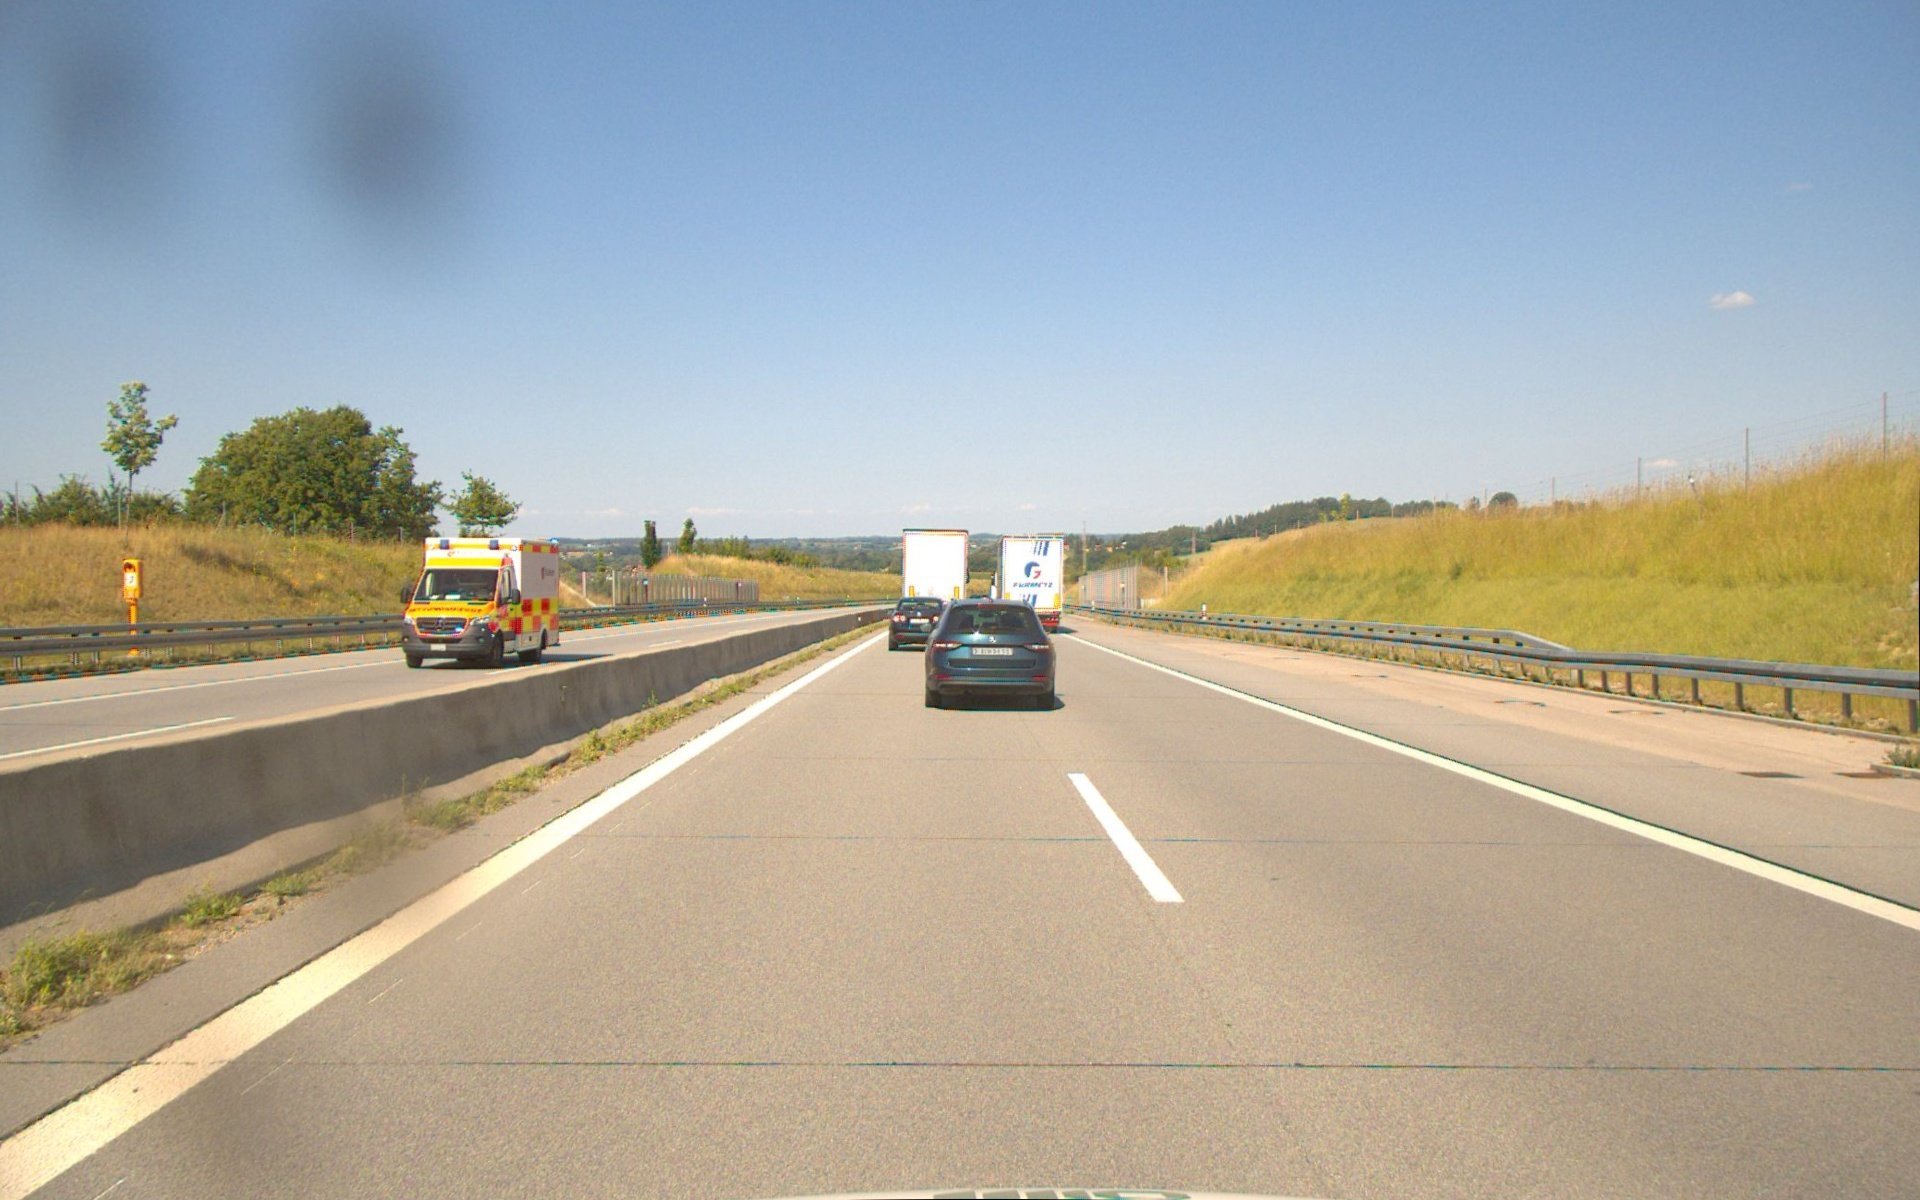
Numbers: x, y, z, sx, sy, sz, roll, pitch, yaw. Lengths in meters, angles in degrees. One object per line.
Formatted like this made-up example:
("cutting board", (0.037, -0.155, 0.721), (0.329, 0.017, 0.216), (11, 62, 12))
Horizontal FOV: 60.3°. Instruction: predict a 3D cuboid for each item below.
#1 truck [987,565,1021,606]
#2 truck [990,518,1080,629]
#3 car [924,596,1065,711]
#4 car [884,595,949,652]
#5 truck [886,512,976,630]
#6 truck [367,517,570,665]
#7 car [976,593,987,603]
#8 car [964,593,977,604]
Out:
("truck", (4.990, -1.656, 188.368), (3.530, 4.457, 11.235), (-2, 0, 1))
("truck", (3.201, -1.127, 73.578), (3.530, 4.457, 11.235), (-2, 0, 1))
("car", (0.402, 0.684, 23.159), (1.741, 1.466, 3.787), (0, 0, -2))
("car", (-1.235, 0.620, 46.047), (1.666, 1.466, 3.998), (-2, 0, -2))
("truck", (-1.070, -1.156, 70.065), (3.144, 4.457, 11.236), (-2, 0, 2))
("truck", (-11.088, -0.205, 38.025), (2.718, 3.074, 6.791), (0, 0, -1))
("car", (3.273, -0.291, 256.665), (1.665, 1.466, 4.000), (0, 0, 0))
("car", (1.370, -0.222, 212.880), (1.665, 1.466, 4.000), (0, 0, 0))
